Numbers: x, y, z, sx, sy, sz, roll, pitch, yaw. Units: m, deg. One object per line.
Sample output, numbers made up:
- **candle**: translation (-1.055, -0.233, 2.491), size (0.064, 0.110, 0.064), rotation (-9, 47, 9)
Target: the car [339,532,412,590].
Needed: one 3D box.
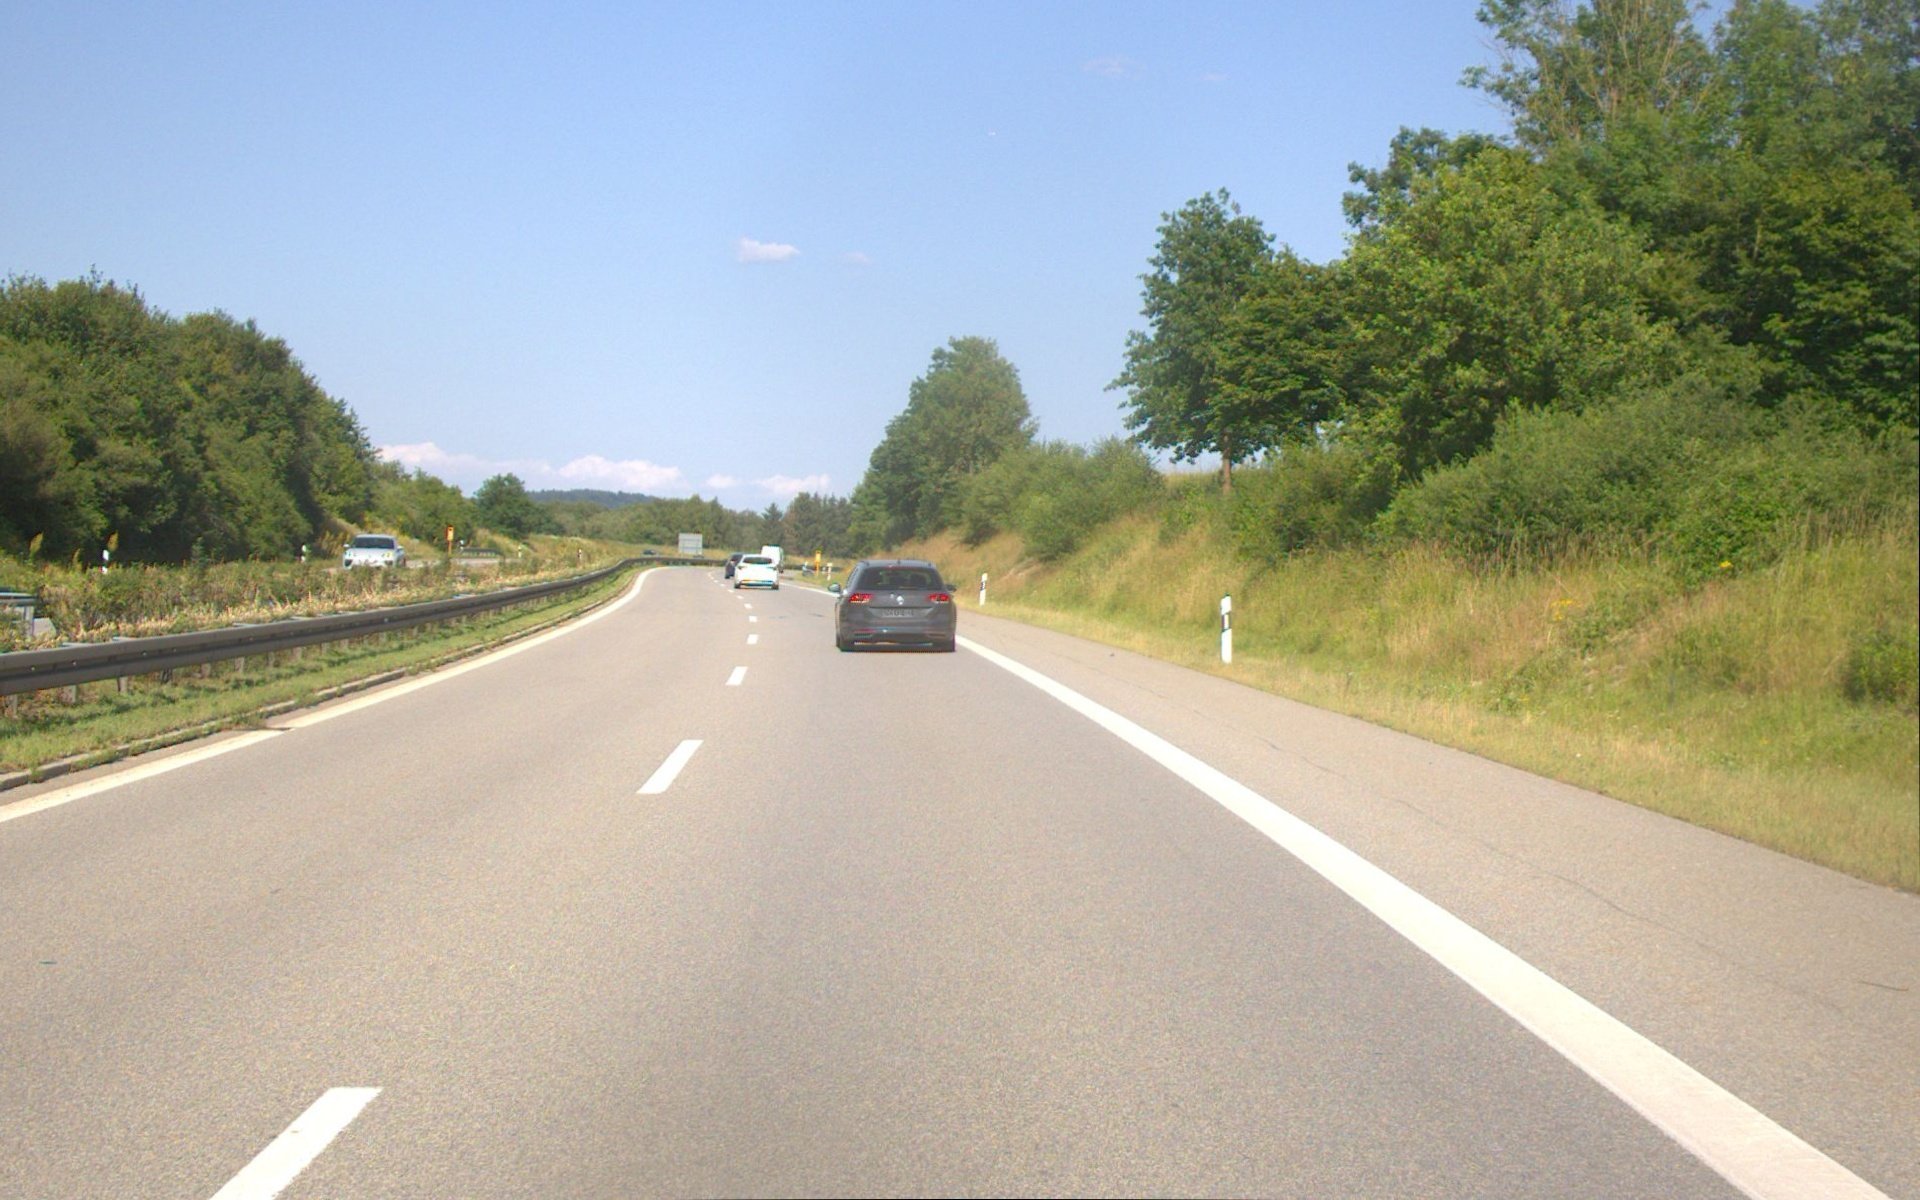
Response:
- **car**: translation (-20.895, -1.395, 122.997), size (1.993, 2.007, 4.856), rotation (1, 1, -3)

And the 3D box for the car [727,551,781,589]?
- **car**: translation (-8.381, -1.205, 139.587), size (2.007, 1.340, 4.001), rotation (4, 0, -5)

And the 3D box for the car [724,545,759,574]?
- **car**: translation (-12.201, -2.275, 191.926), size (1.710, 1.382, 3.355), rotation (6, -1, -2)

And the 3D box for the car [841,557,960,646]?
- **car**: translation (-0.960, 0.004, 54.021), size (1.791, 1.340, 4.000), rotation (0, 1, -2)
